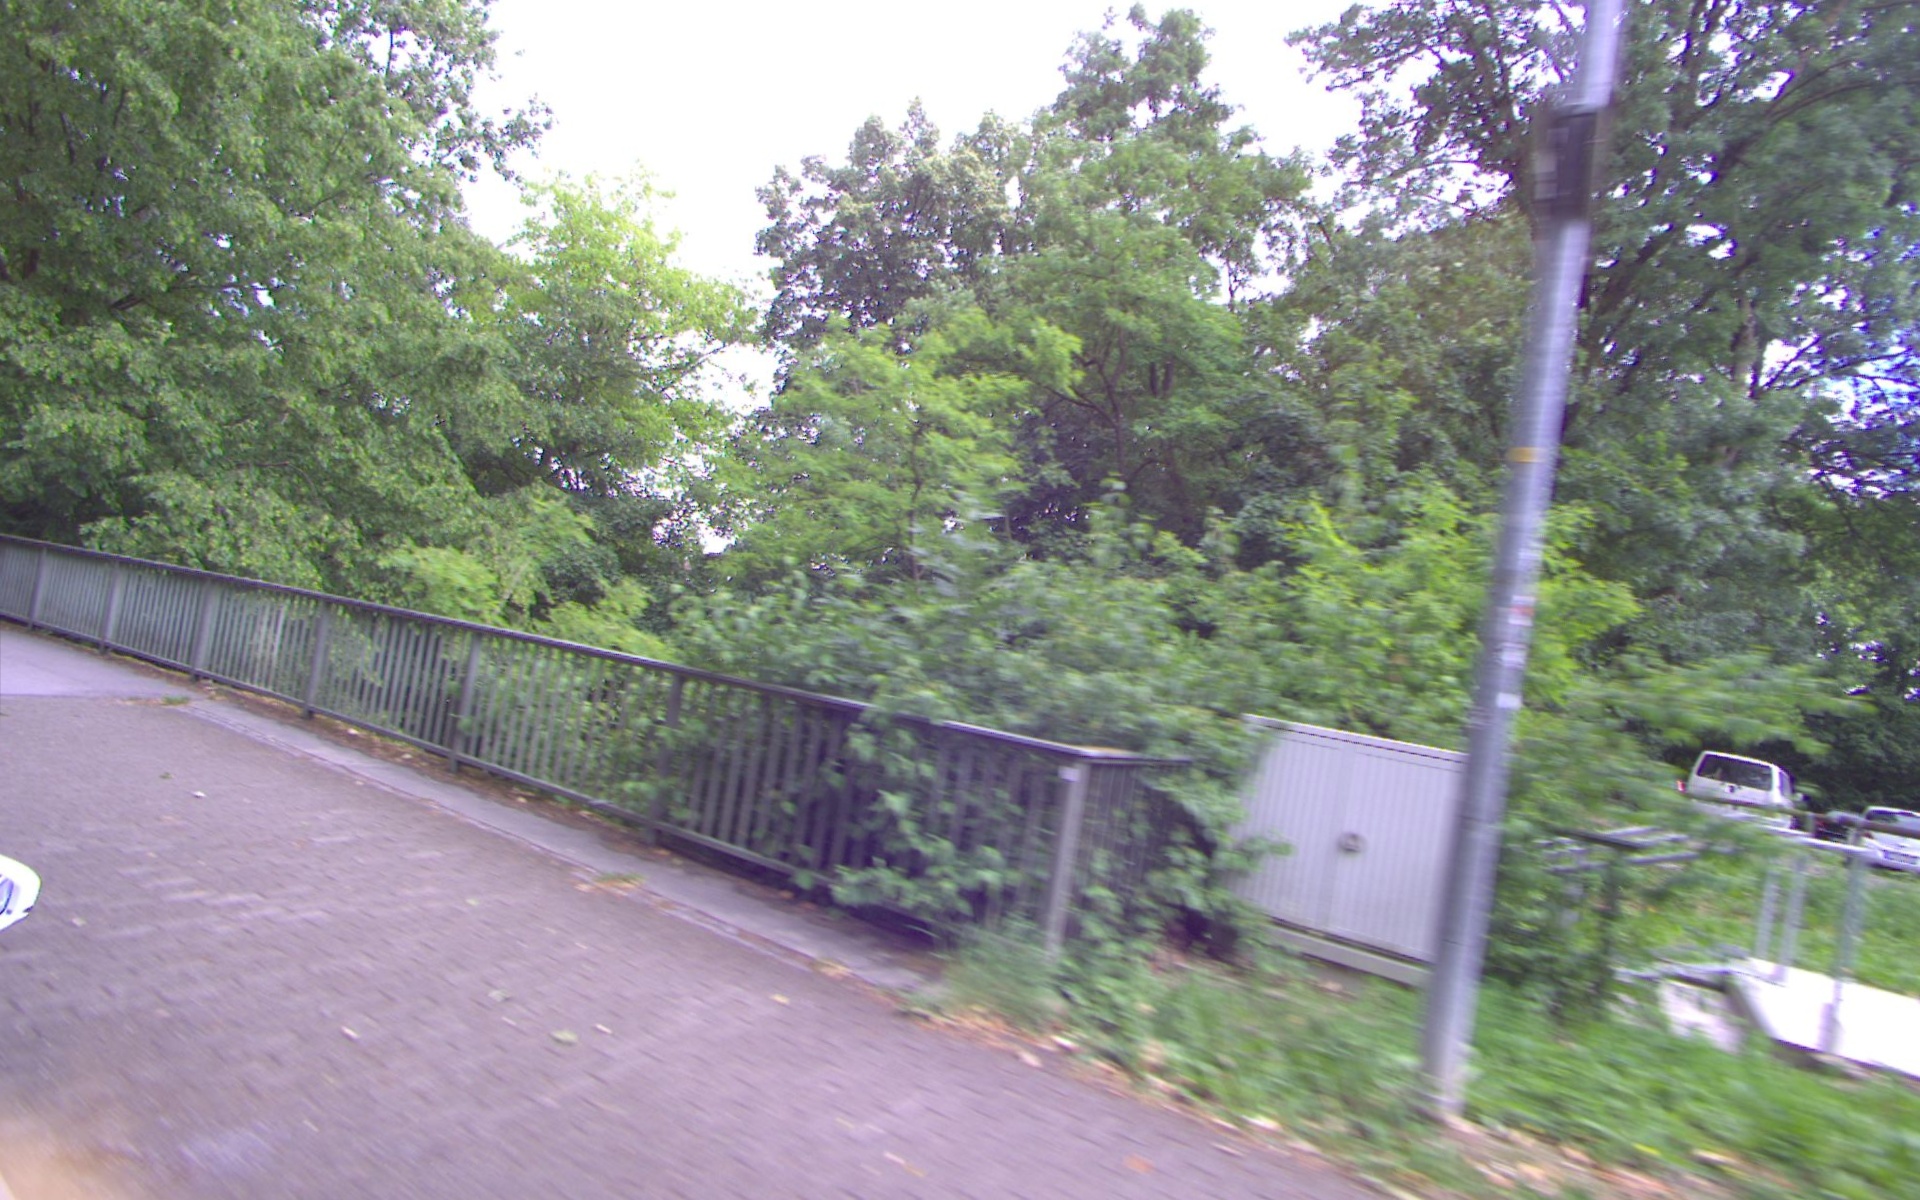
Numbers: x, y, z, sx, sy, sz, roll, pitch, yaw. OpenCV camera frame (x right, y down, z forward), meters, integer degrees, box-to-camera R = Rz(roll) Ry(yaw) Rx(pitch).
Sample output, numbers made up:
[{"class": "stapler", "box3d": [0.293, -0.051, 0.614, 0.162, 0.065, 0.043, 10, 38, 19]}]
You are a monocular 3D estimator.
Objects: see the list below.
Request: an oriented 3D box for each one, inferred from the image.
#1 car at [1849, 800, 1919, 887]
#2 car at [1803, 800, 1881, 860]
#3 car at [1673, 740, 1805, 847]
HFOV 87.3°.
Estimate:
[{"class": "car", "box3d": [20.776, 5.320, 22.017, 1.777, 1.515, 4.201, 5, -4, 44]}, {"class": "car", "box3d": [30.748, 7.956, 35.035, 1.808, 1.587, 3.513, 6, -4, 44]}, {"class": "car", "box3d": [18.714, 4.583, 24.095, 1.974, 2.035, 4.201, 5, -4, 44]}]
